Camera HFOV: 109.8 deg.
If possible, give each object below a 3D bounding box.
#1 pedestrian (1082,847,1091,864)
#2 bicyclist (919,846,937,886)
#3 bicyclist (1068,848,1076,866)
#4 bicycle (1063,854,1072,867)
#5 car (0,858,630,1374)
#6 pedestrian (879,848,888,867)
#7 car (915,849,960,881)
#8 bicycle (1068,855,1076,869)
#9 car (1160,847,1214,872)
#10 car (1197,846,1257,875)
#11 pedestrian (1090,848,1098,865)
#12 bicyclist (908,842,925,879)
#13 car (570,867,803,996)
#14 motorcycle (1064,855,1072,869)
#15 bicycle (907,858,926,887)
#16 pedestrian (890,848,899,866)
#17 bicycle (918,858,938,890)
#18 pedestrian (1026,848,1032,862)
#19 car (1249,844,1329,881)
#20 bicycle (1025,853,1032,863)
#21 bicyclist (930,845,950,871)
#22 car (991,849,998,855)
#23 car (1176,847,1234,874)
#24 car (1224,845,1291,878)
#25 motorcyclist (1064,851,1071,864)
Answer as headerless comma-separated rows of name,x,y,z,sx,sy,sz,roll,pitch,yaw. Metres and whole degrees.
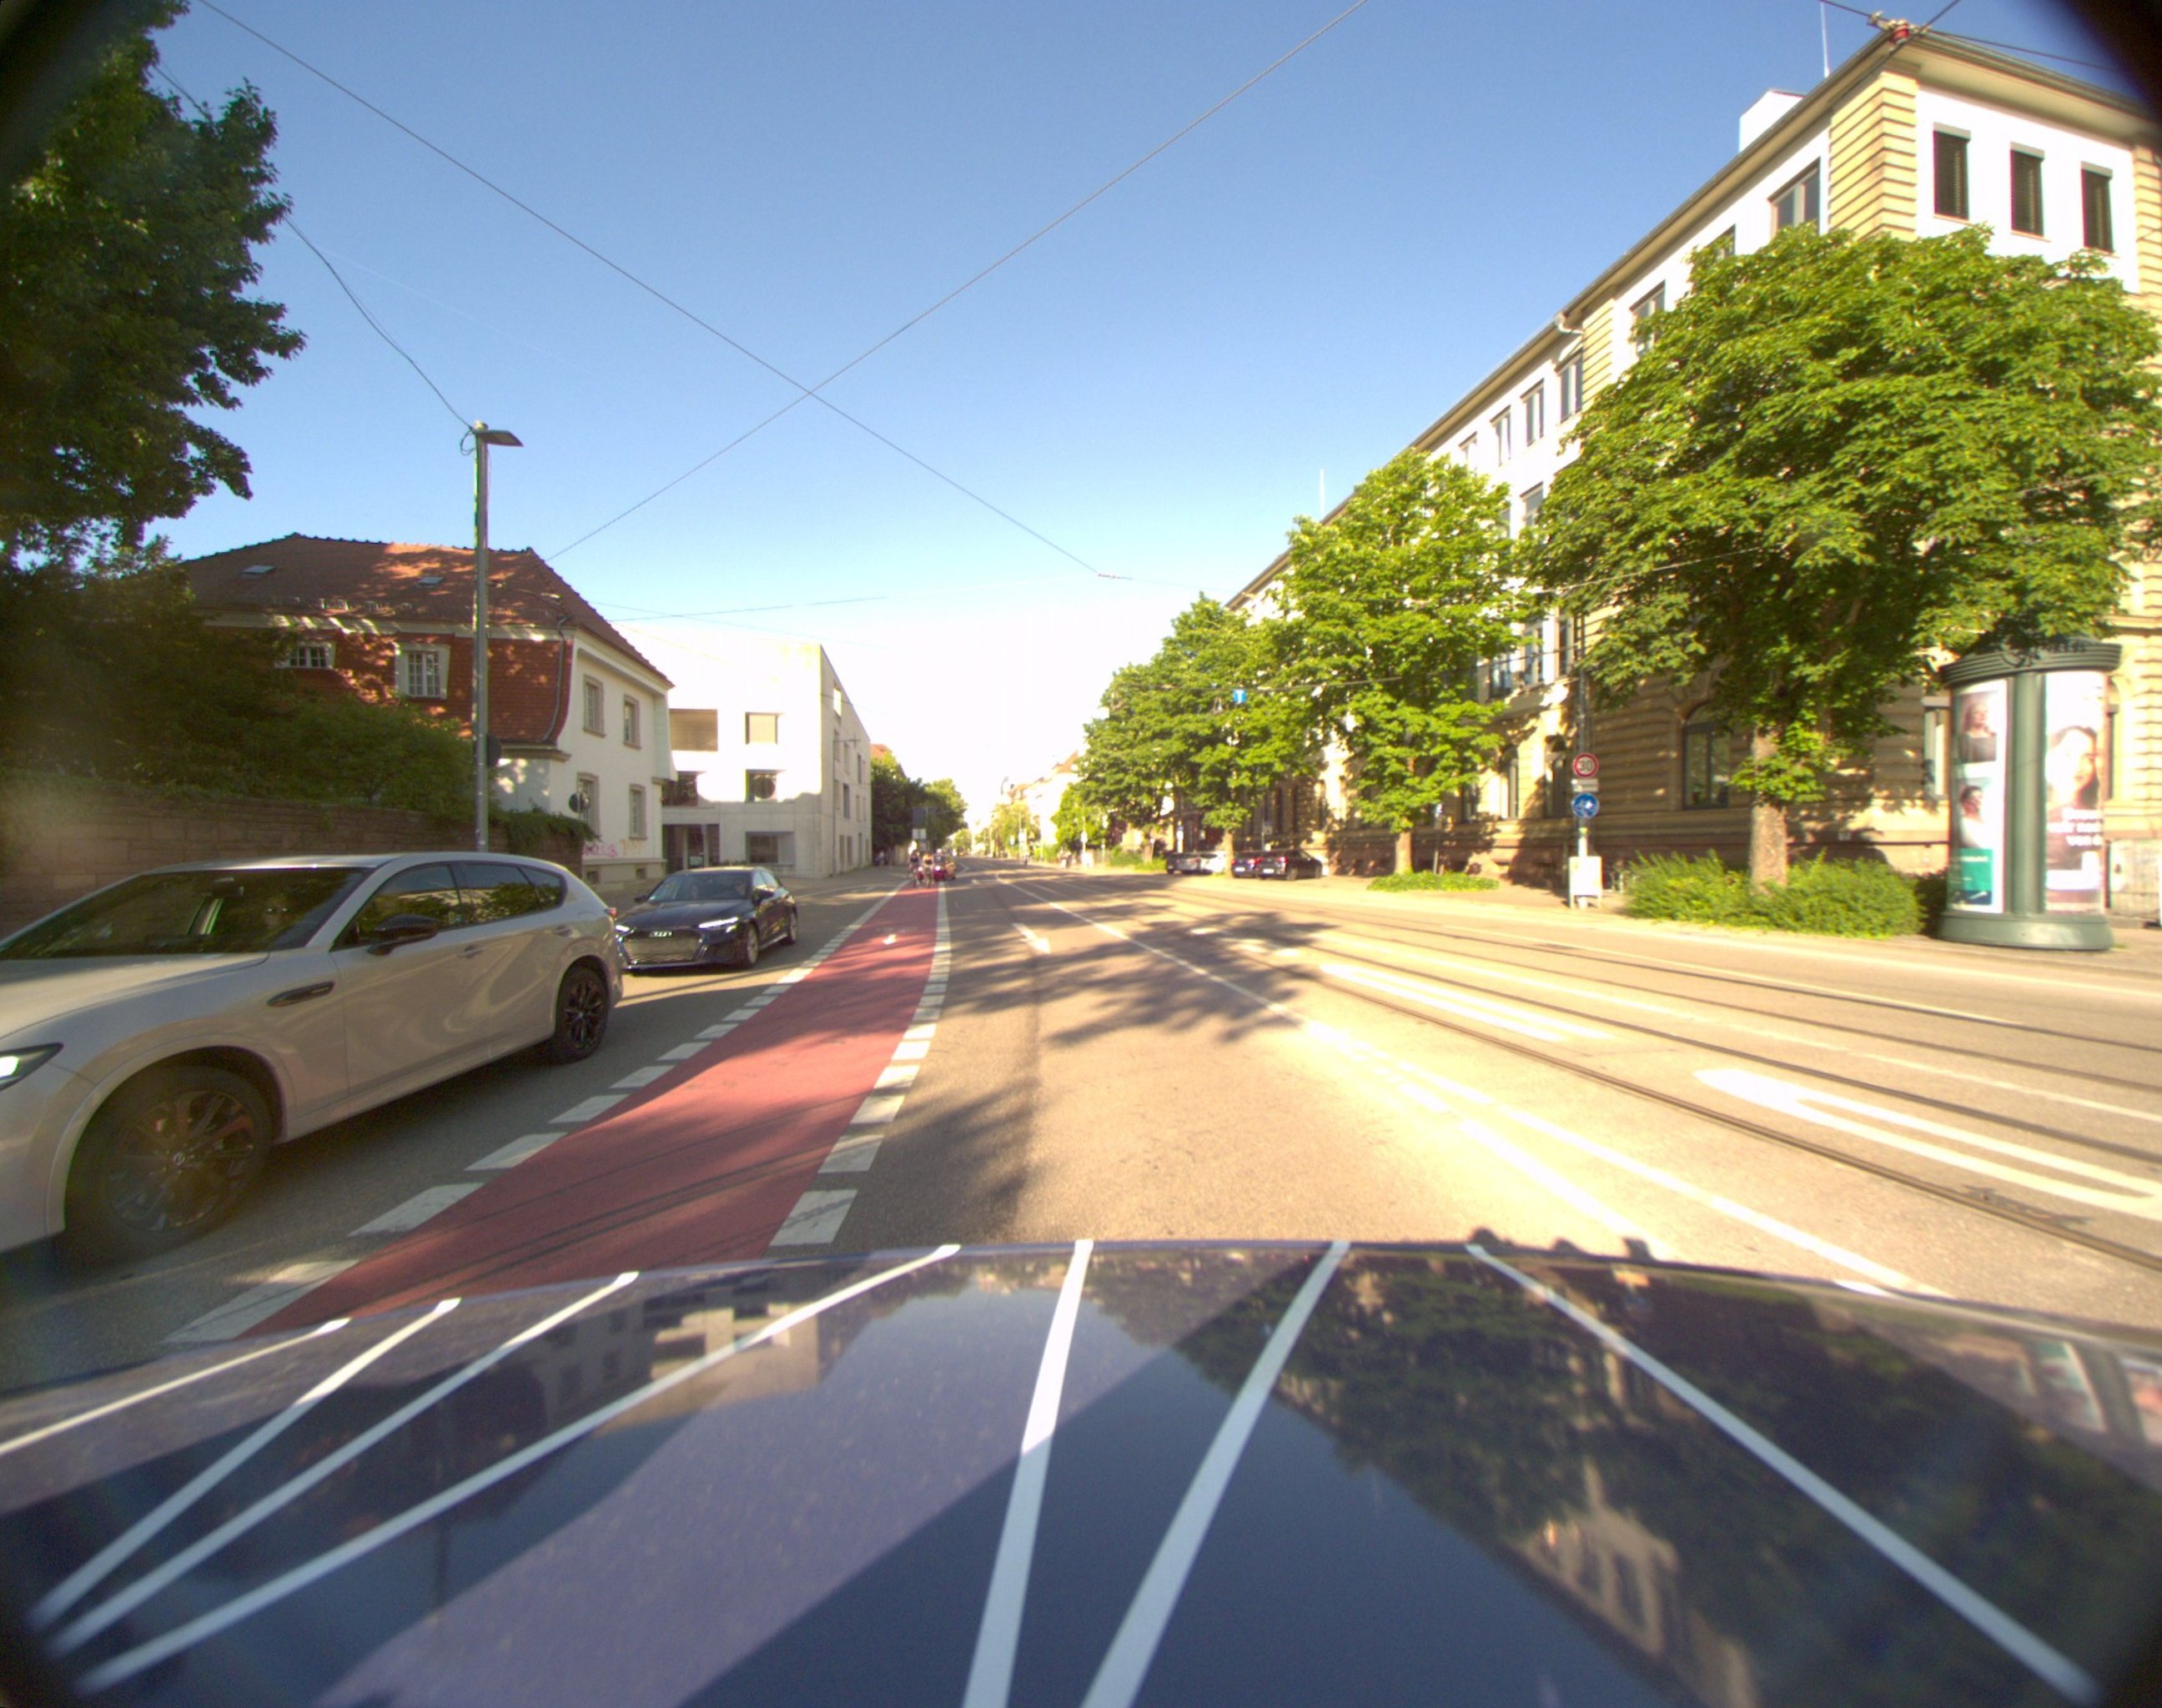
pedestrian,0.553,0.158,73.643,0.676,1.638,0.817,-1,1,-9
bicyclist,-6.425,0.482,31.968,0.676,1.638,1.028,0,1,-8
bicyclist,-0.817,0.298,70.286,0.675,1.638,1.029,0,1,1
bicycle,-1.294,0.612,73.364,0.676,1.243,2.455,0,1,-5
car,-4.799,0.936,4.354,1.946,1.682,4.529,-2,1,-5
pedestrian,-17.265,0.295,66.377,0.676,1.638,0.817,-1,1,-9
car,-7.781,0.564,41.469,1.649,1.552,3.650,-2,1,1
bicycle,-0.814,0.753,70.324,0.676,1.243,2.456,0,1,1
car,7.241,0.354,51.737,3.657,1.552,1.645,-3,1,-43
car,8.894,0.382,46.095,3.657,1.552,1.645,-3,1,-43
pedestrian,1.283,0.268,73.916,0.676,1.638,0.817,-1,1,-9
bicyclist,-7.352,0.297,33.970,0.676,1.638,1.028,0,1,-8
car,-5.620,0.995,11.448,1.789,1.425,3.997,-2,1,-8
motorcycle,-1.214,0.736,73.115,0.680,1.285,2.265,-2,1,1
bicycle,-7.362,0.795,34.028,0.676,1.243,2.454,0,1,-8
pedestrian,-16.354,0.258,66.497,0.676,1.638,0.817,-1,1,-9
bicycle,-6.438,0.819,32.075,0.676,1.243,2.454,0,1,-8
pedestrian,-6.279,0.105,91.550,0.675,1.638,0.817,-1,1,0
car,10.386,0.401,37.720,4.189,1.621,1.841,-3,1,-43
bicycle,-6.277,0.485,91.553,0.676,1.243,2.456,-1,1,0
bicyclist,-9.155,0.266,49.400,0.674,1.638,1.031,1,1,43
car,-23.725,-0.644,208.081,1.650,1.552,3.646,-2,1,-12
car,7.916,0.383,48.326,3.657,1.552,1.645,-3,1,-43
car,9.423,0.384,40.380,3.657,1.552,1.645,-3,1,-43
motorcyclist,-1.291,0.321,73.293,0.676,1.243,0.853,0,1,-5
